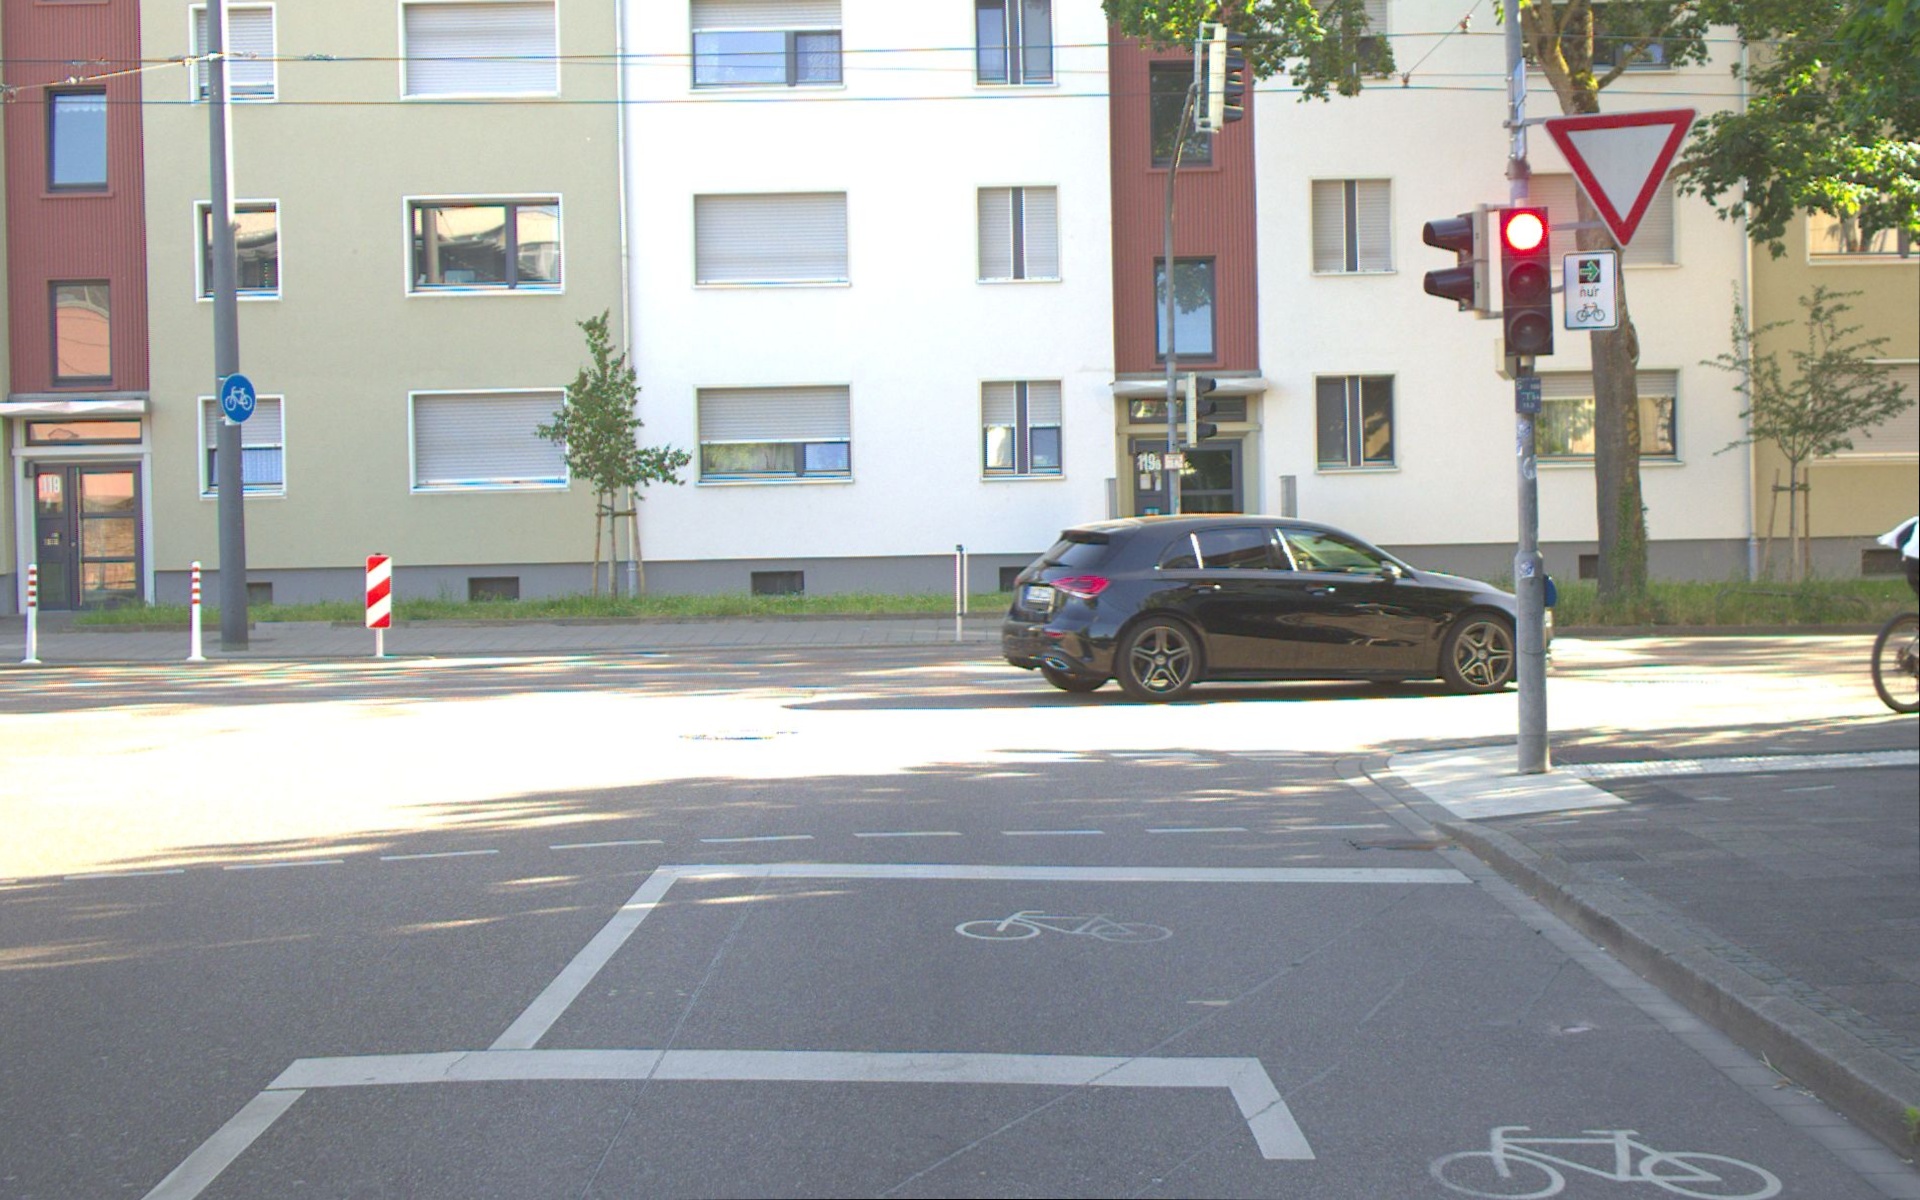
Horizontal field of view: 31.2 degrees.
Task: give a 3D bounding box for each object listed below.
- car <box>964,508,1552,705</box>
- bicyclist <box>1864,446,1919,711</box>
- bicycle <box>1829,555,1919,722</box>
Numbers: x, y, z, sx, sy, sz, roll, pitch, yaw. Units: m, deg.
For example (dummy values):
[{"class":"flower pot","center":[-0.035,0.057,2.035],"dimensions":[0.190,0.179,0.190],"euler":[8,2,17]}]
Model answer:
[{"class":"car","center":[2.326,0.004,26.903],"dimensions":[4.192,1.416,1.854],"euler":[-1,2,-22]},{"class":"bicyclist","center":[6.590,-0.155,23.071],"dimensions":[0.786,1.751,0.612],"euler":[-2,2,-25]},{"class":"bicycle","center":[6.616,0.237,23.087],"dimensions":[1.683,1.076,0.351],"euler":[-2,2,-27]}]
